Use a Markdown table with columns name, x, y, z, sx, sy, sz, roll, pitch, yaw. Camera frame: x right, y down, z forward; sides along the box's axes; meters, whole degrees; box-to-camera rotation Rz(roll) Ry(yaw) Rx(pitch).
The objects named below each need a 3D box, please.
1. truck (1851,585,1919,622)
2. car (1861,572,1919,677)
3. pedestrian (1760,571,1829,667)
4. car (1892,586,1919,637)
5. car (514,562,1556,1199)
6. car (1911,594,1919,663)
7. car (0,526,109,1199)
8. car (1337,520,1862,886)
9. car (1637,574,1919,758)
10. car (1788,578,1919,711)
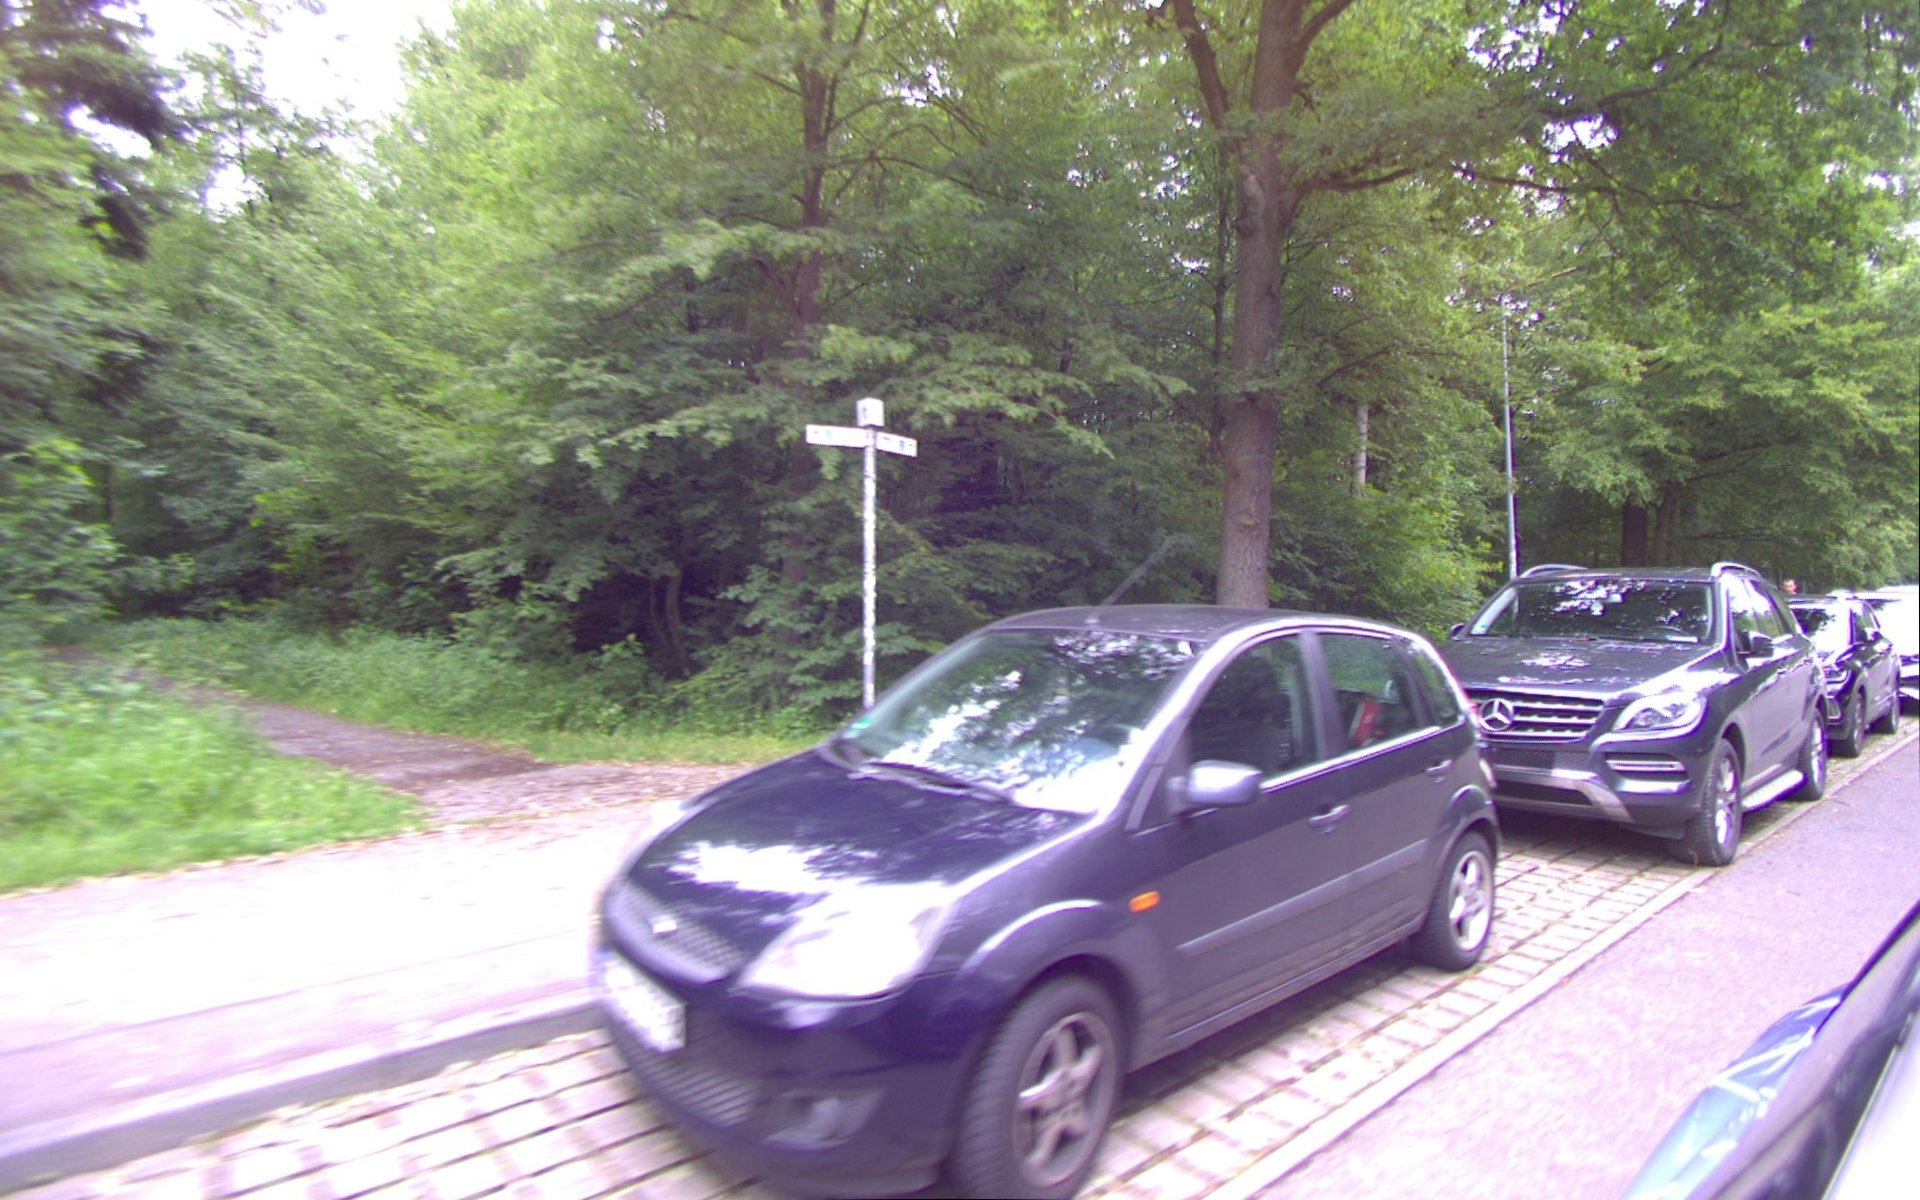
| name | x | y | z | sx | sy | sz | roll | pitch | yaw |
| --- | --- | --- | --- | --- | --- | --- | --- | --- | --- |
| truck | 94.586 | 0.352 | 100.786 | 2.809 | 3.559 | 8.261 | 2 | 0 | -26 |
| car | 18.170 | 0.415 | 18.694 | 4.473 | 1.803 | 1.747 | 0 | 0 | -41 |
| pedestrian | 15.725 | 0.345 | 19.076 | 0.986 | 1.748 | 0.819 | 0 | -1 | -39 |
| car | 33.361 | 0.403 | 32.874 | 1.921 | 1.687 | 4.278 | 0 | 0 | -36 |
| car | 0.658 | 0.685 | 3.837 | 4.019 | 1.523 | 1.601 | 0 | 0 | -41 |
| car | 22.229 | 0.605 | 21.988 | 4.206 | 1.440 | 1.729 | 0 | 0 | -39 |
| car | -2.967 | 0.672 | 0.305 | 4.082 | 1.496 | 1.638 | 0 | 0 | -43 |
| car | 4.800 | 0.492 | 7.230 | 4.862 | 1.769 | 1.892 | 0 | 0 | -41 |
| car | 9.090 | 0.582 | 11.071 | 4.369 | 1.628 | 1.754 | 0 | 0 | -41 |
| car | 13.582 | 0.555 | 14.667 | 4.637 | 1.683 | 1.788 | 0 | 0 | -42 |
